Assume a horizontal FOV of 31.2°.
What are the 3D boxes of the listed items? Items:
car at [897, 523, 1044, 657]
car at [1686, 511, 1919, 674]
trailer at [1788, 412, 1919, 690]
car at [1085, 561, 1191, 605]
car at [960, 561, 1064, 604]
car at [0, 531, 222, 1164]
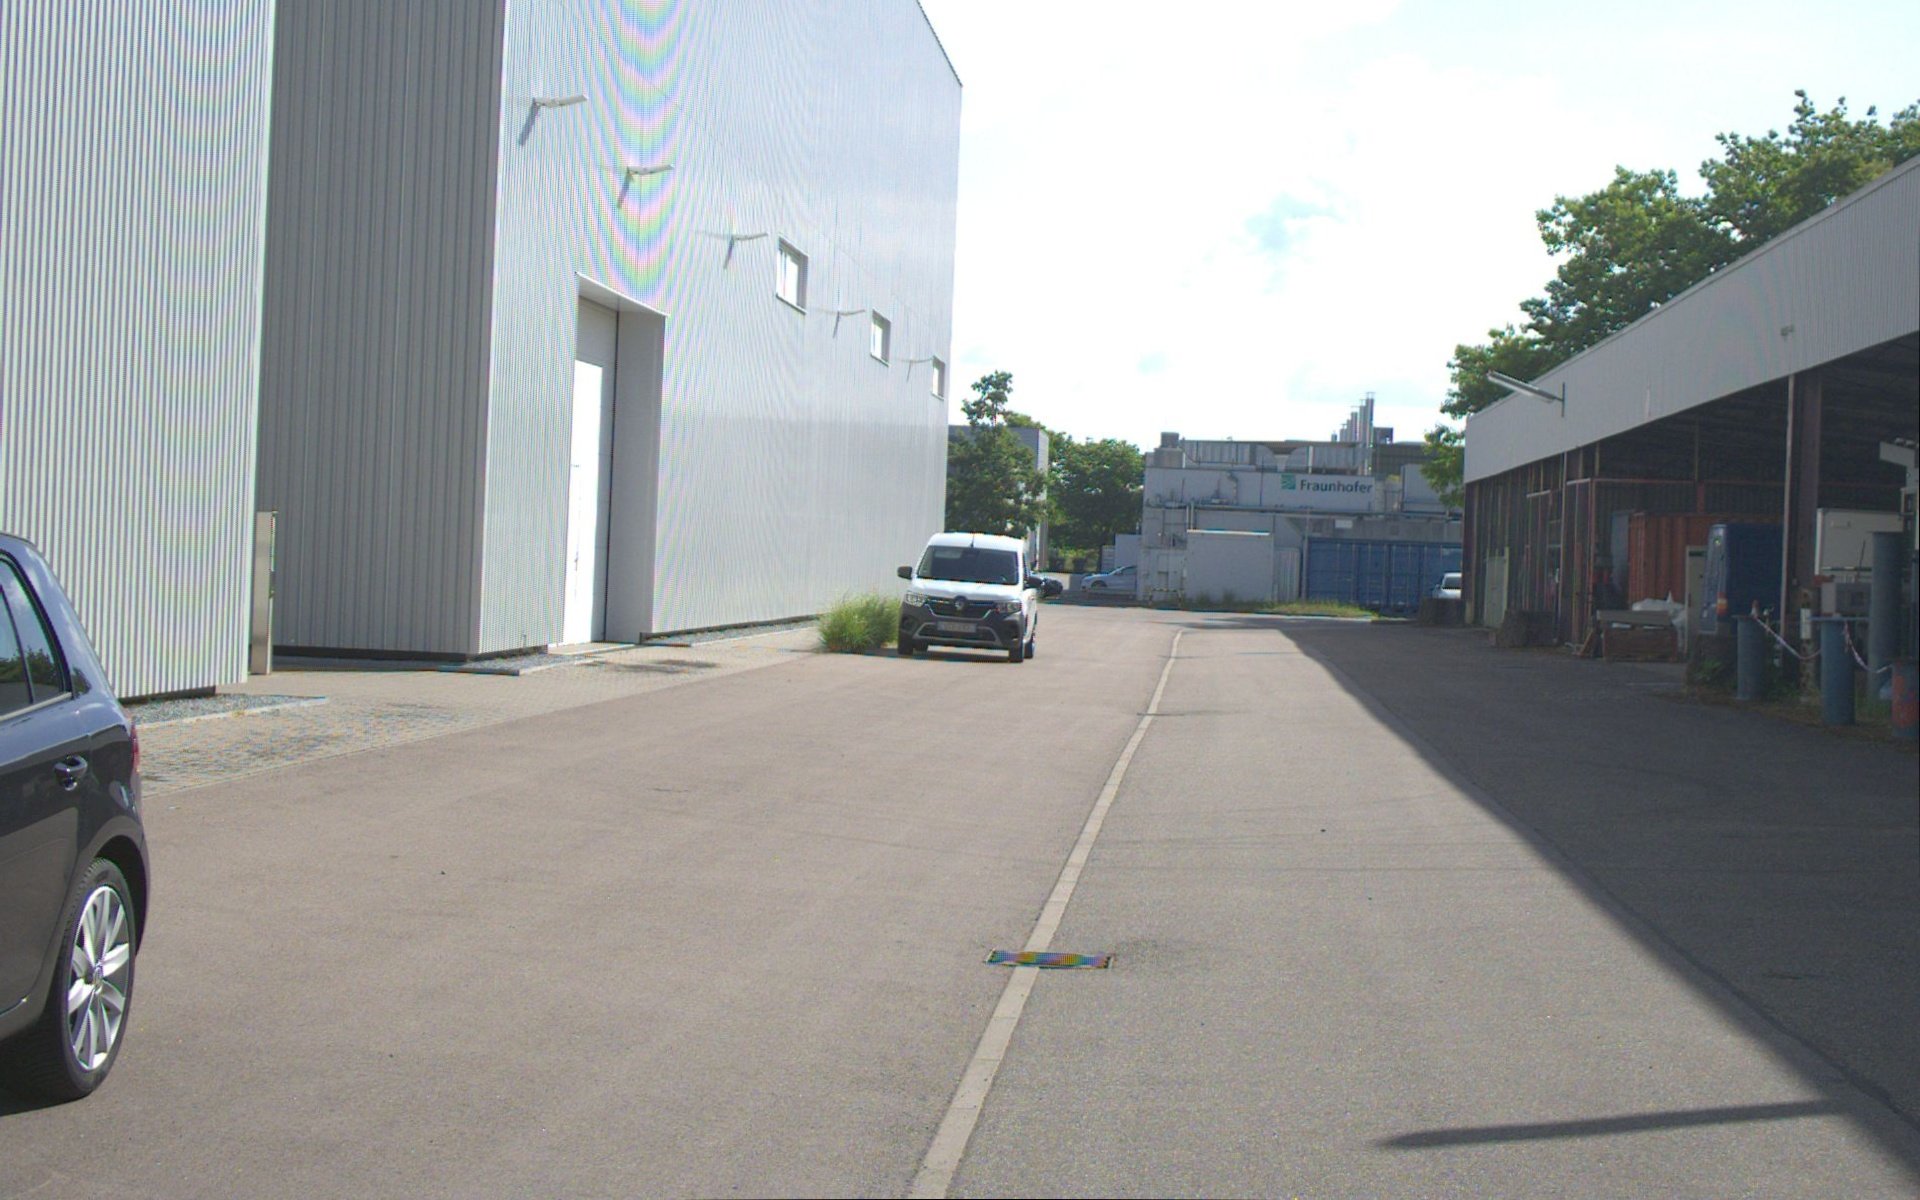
[{"bbox_3d":[0.190,-0.162,50.092,1.908,1.788,4.000,3,1,2],"label":"car"},{"bbox_3d":[13.426,-0.121,54.386,3.505,2.433,2.000,2,1,5],"label":"car"},{"bbox_3d":[13.938,-0.532,43.170,6.389,3.359,2.824,2,1,3],"label":"trailer"},{"bbox_3d":[6.774,-0.656,130.833,3.886,1.457,1.623,3,1,7],"label":"car"},{"bbox_3d":[2.003,-0.686,132.117,3.885,1.457,1.623,3,1,4],"label":"car"},{"bbox_3d":[-3.034,0.517,7.433,1.651,1.441,3.877,6,1,4],"label":"car"}]
